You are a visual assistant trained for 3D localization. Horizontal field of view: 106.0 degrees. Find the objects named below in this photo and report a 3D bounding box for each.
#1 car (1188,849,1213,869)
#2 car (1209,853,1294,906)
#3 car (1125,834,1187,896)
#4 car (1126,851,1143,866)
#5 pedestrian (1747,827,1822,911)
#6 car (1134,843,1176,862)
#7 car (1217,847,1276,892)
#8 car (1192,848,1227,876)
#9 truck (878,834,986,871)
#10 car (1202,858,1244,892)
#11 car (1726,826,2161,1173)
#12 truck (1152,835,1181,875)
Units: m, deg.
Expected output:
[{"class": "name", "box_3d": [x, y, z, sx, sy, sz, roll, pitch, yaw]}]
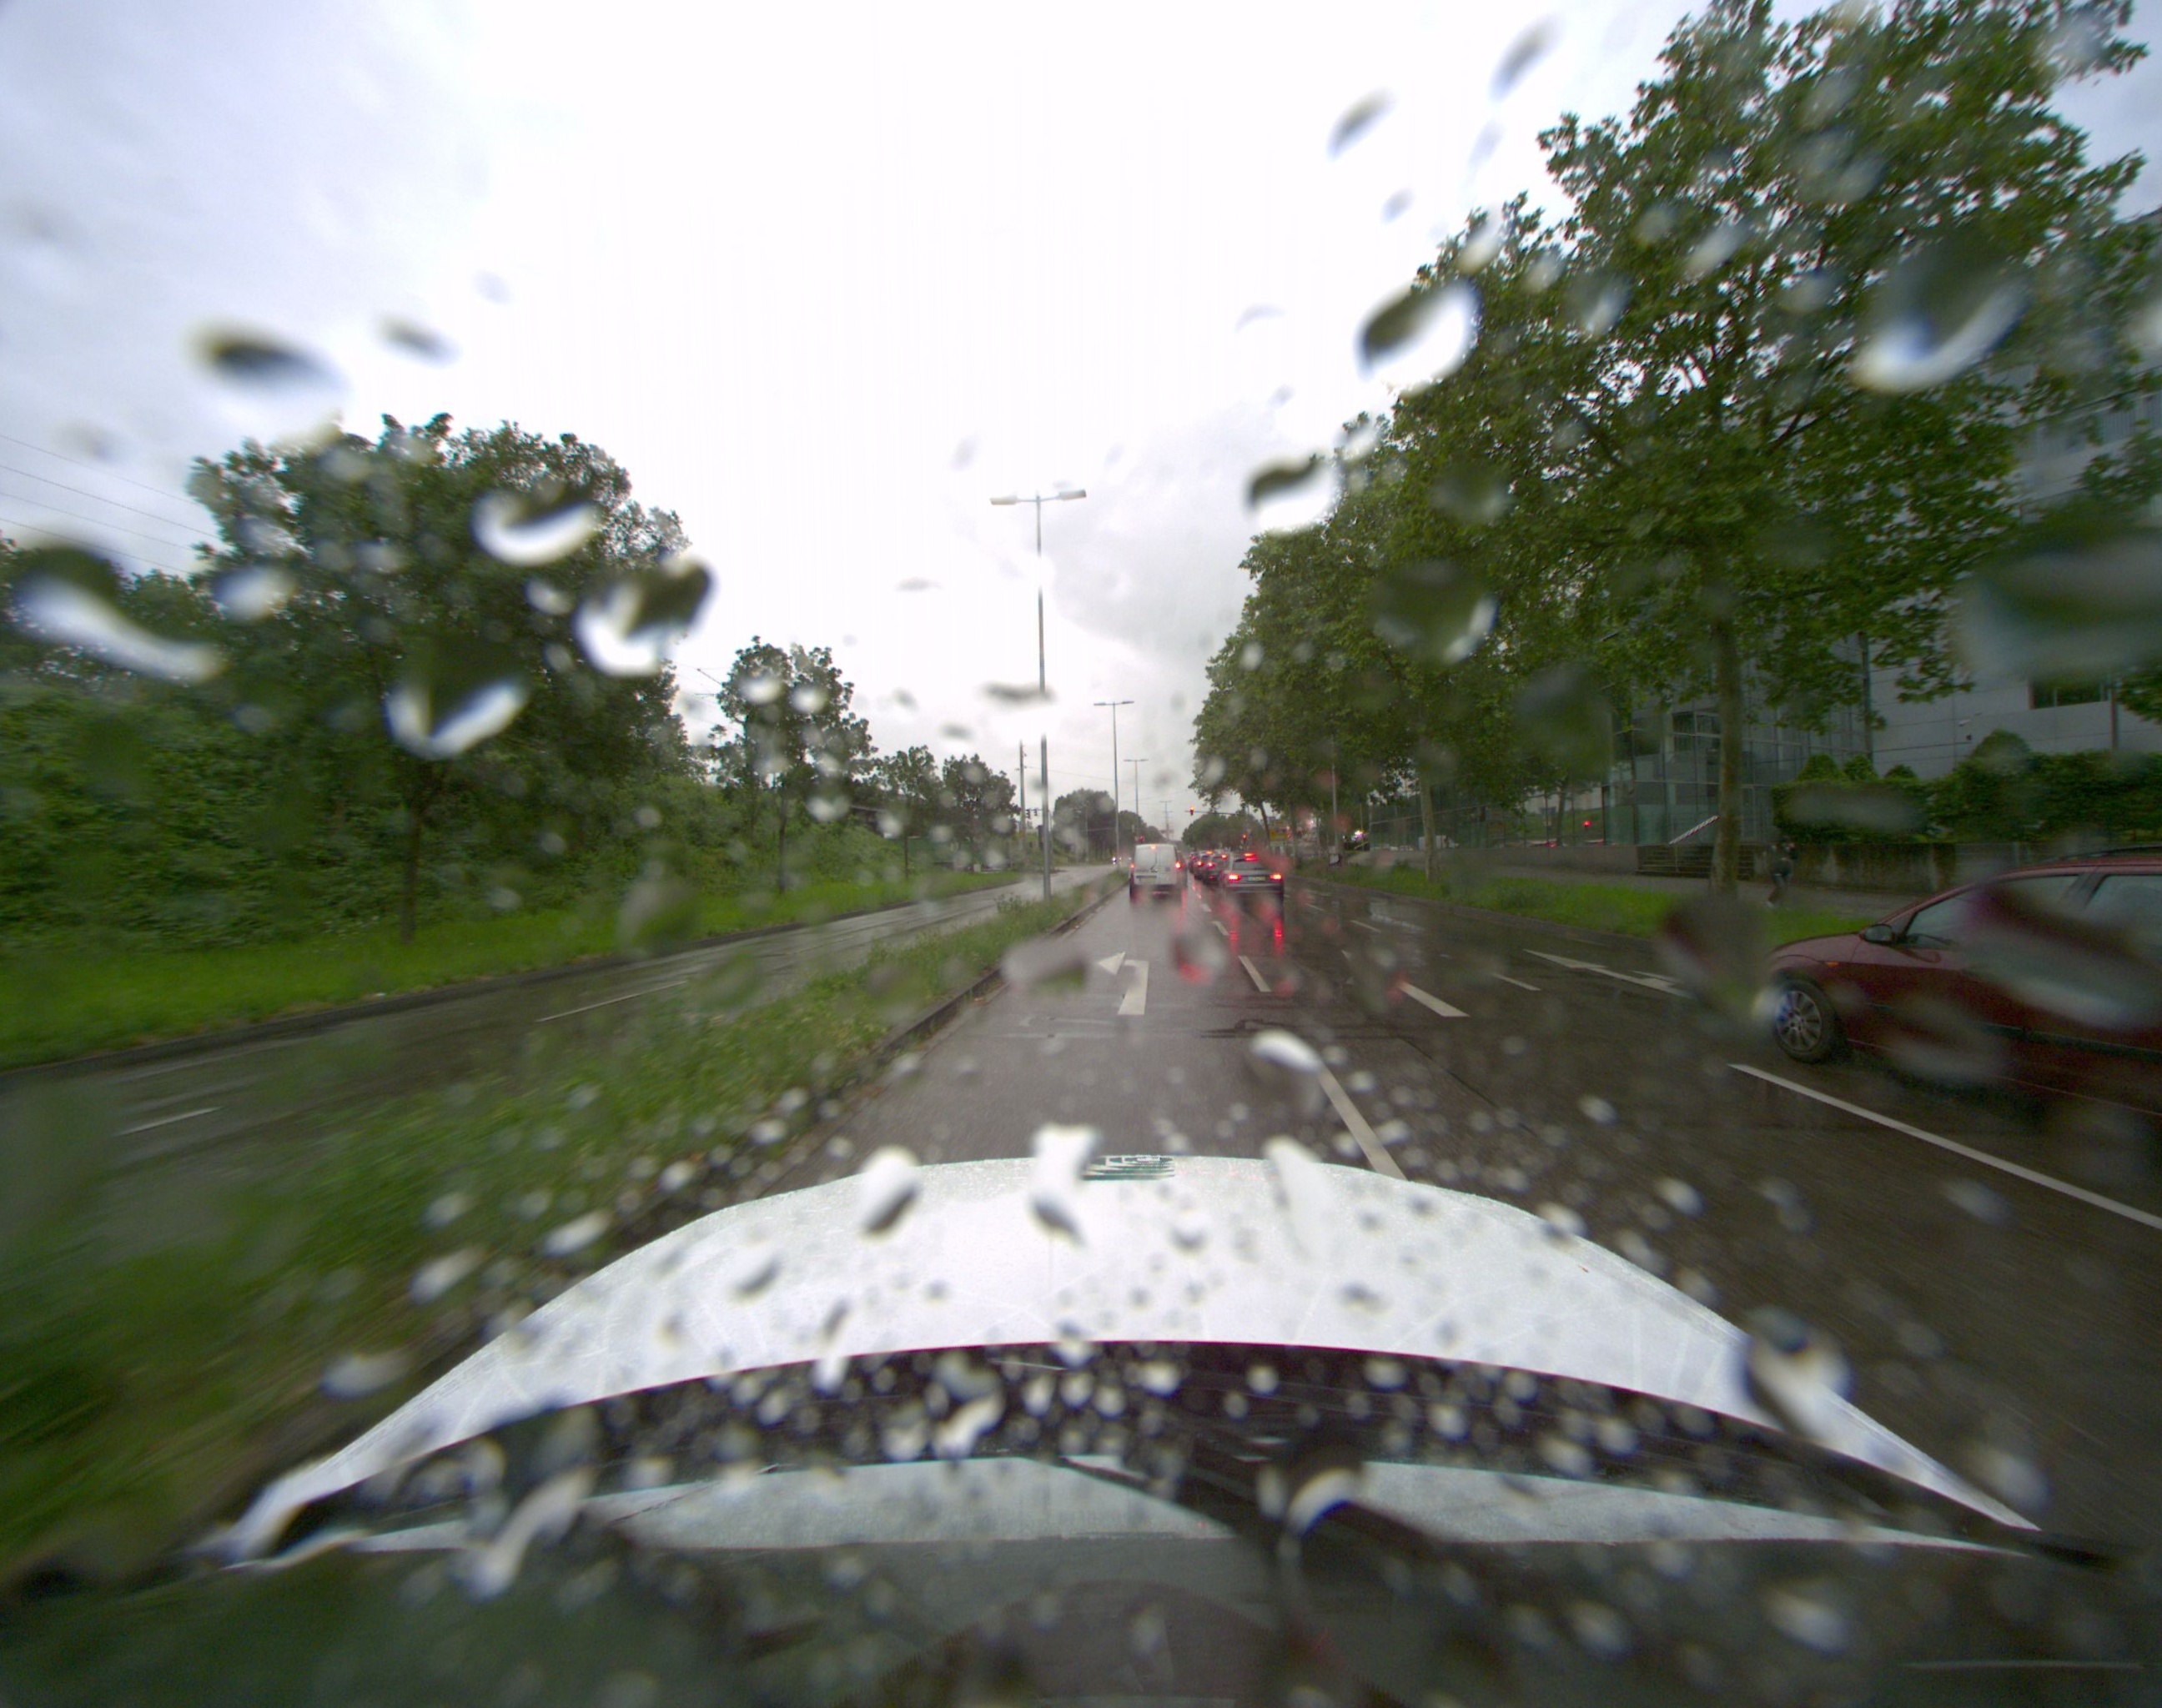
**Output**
[{"class": "car", "box_3d": [8.895, 0.359, 61.010, 1.703, 1.445, 4.007, -1, 0, 6]}, {"class": "car", "box_3d": [5.007, 0.711, 24.425, 1.984, 1.452, 4.005, -1, 0, 4]}, {"class": "car", "box_3d": [2.614, 0.402, 28.560, 1.984, 2.014, 4.005, -1, -2, 5]}, {"class": "car", "box_3d": [6.116, 0.482, 93.042, 1.707, 1.513, 3.621, -3, 0, 7]}, {"class": "pedestrian", "box_3d": [15.225, 0.313, 17.652, 0.662, 1.762, 1.076, -1, 0, 0]}, {"class": "car", "box_3d": [10.889, -0.230, 119.337, 6.039, 2.744, 1.980, 0, -2, -31]}, {"class": "car", "box_3d": [6.237, 0.529, 31.045, 1.700, 1.549, 4.005, -1, 1, 5]}, {"class": "car", "box_3d": [7.224, 0.410, 46.083, 1.703, 1.445, 4.007, -1, 0, 6]}, {"class": "truck", "box_3d": [-14.494, -0.088, 79.935, 10.174, 3.452, 2.632, 0, -2, -31]}, {"class": "car", "box_3d": [6.668, 0.963, 38.549, 1.703, 1.445, 4.007, -1, 0, 6]}, {"class": "car", "box_3d": [5.747, 0.640, 4.208, 1.830, 1.537, 4.117, 0, 0, 5]}, {"class": "truck", "box_3d": [5.531, 0.060, 52.783, 1.748, 2.466, 4.005, -1, 0, 5]}]
